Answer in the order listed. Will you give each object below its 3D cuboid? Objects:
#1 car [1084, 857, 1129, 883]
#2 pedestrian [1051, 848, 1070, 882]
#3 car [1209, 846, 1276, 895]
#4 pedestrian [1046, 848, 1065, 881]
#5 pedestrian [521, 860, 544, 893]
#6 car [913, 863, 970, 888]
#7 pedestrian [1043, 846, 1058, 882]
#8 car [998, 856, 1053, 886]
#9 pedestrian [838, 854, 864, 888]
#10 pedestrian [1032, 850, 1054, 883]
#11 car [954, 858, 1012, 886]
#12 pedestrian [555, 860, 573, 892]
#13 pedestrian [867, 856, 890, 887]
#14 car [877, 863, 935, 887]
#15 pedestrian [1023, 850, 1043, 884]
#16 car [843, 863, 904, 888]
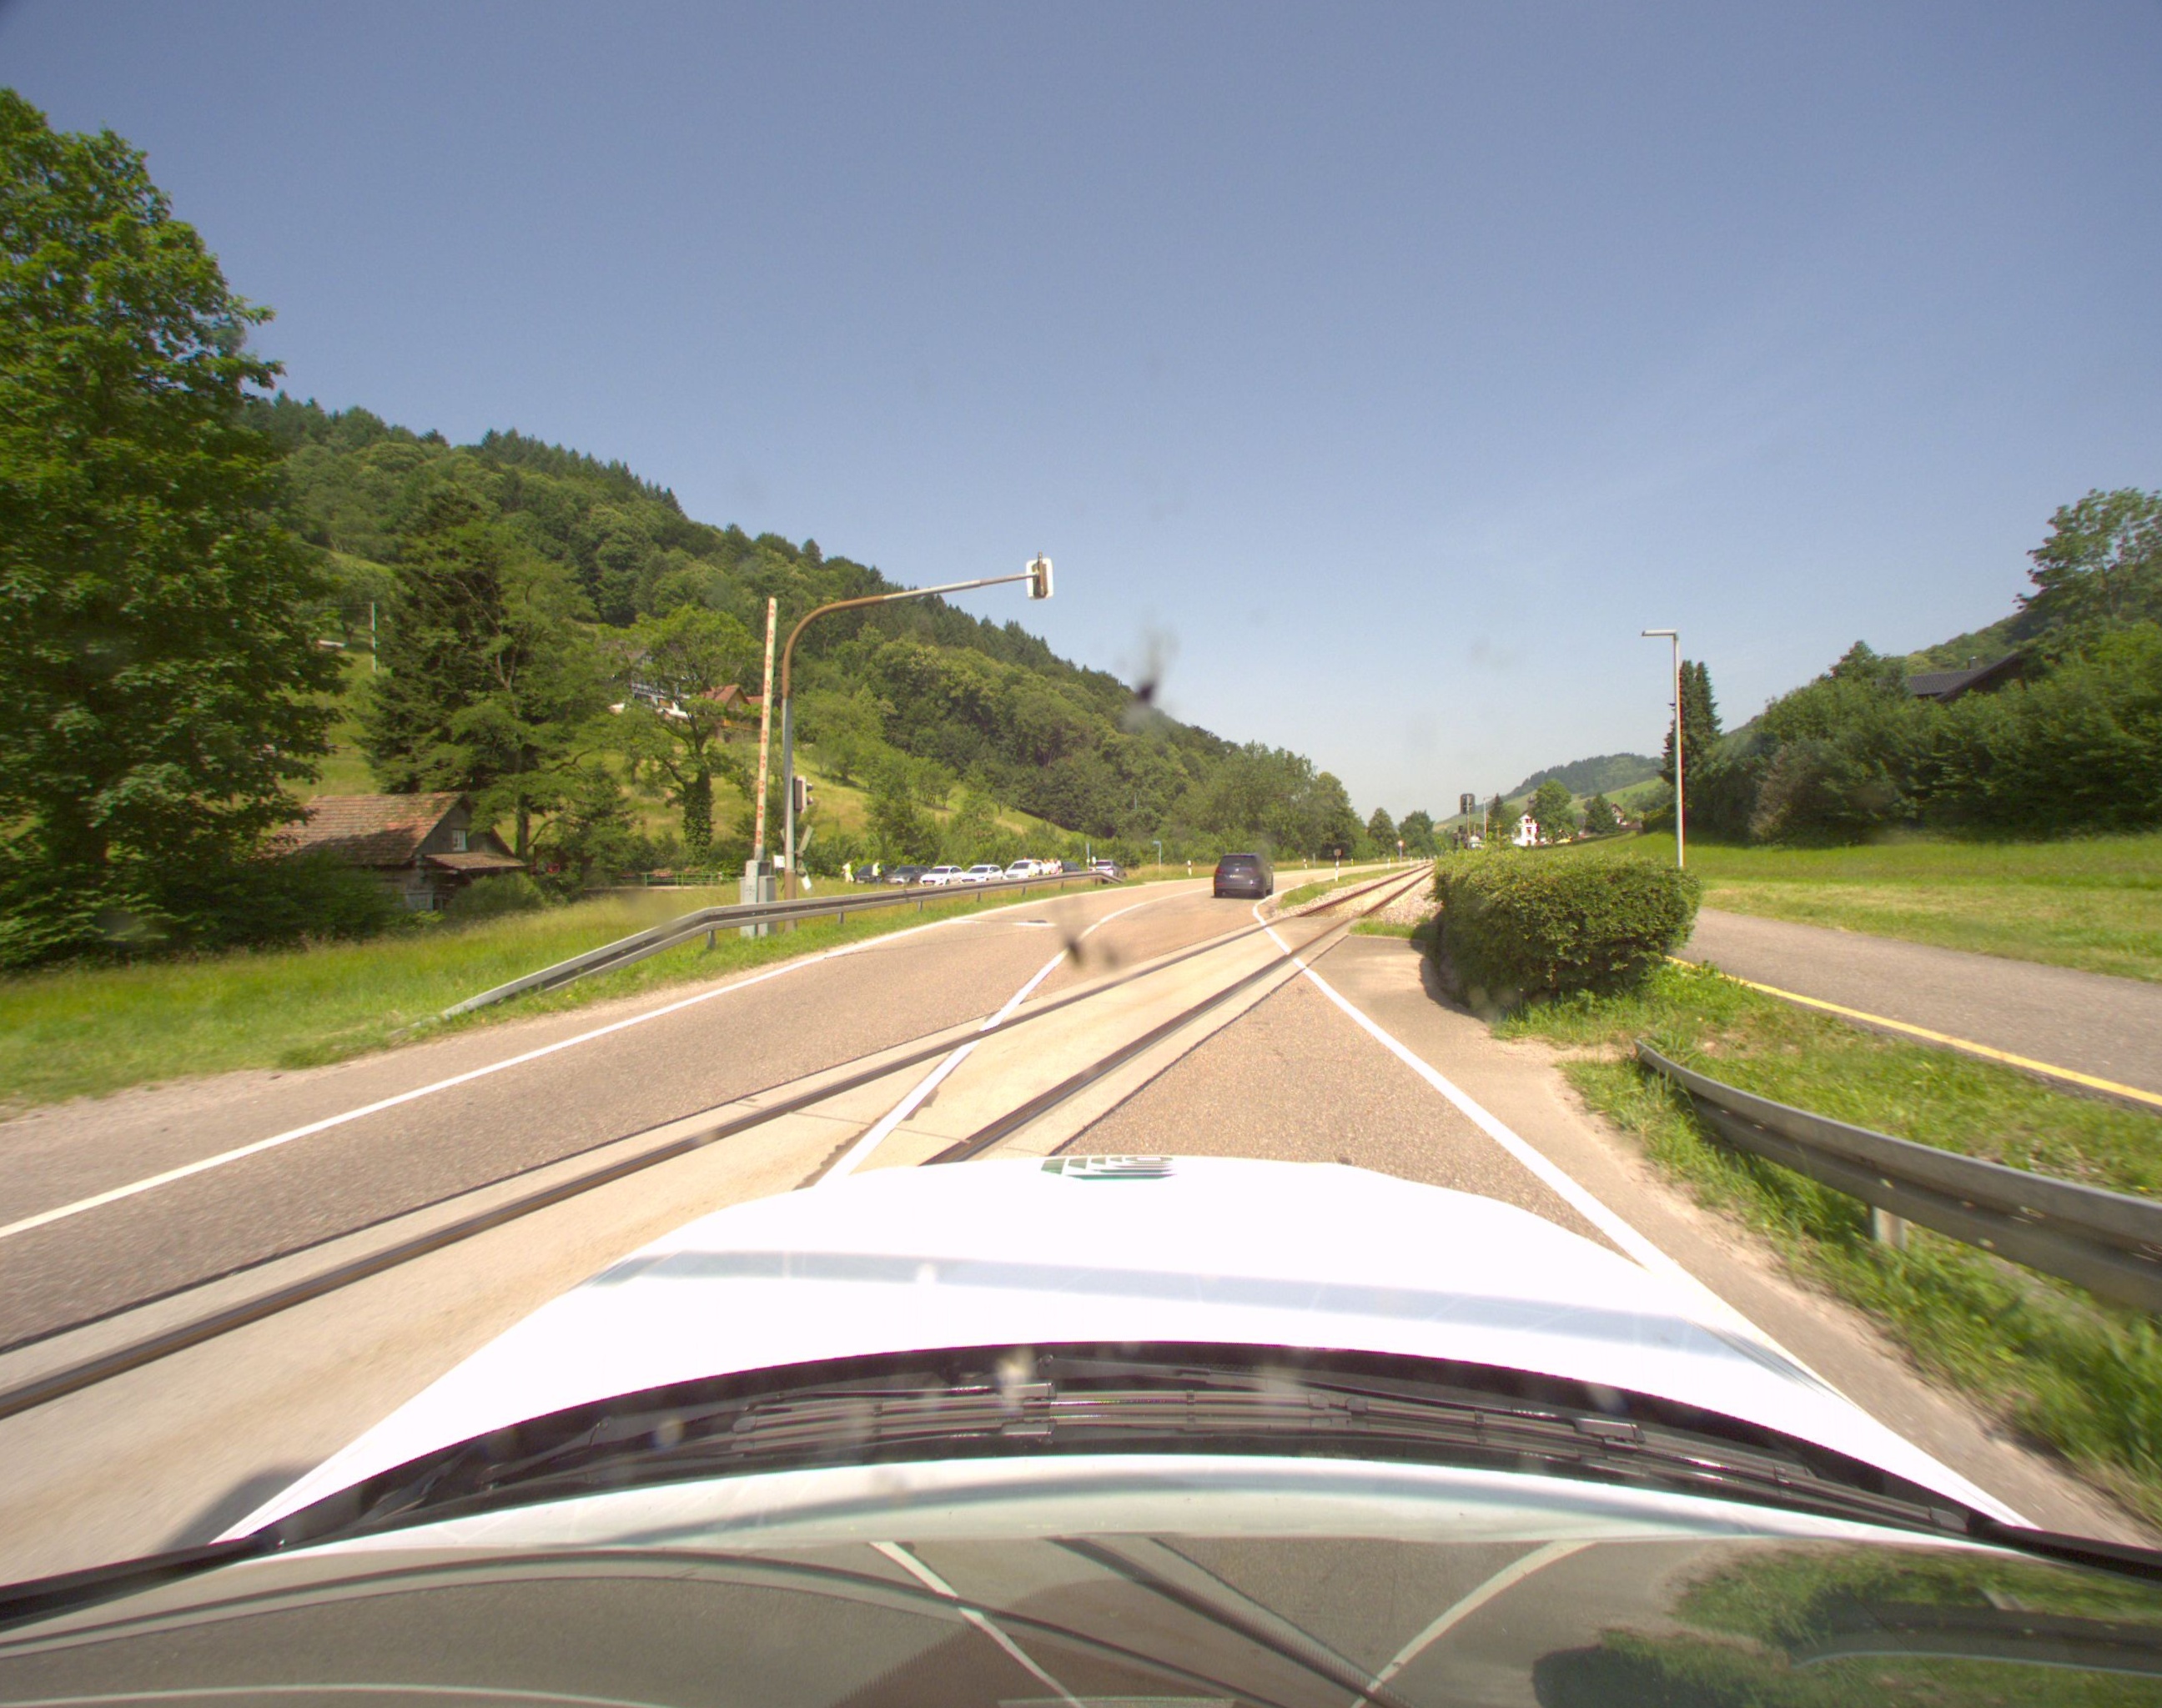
[{"bbox_3d":[1.636,0.952,50.072,1.813,1.501,4.293,-3,-1,14],"label":"car"},{"bbox_3d":[-1.129,0.623,45.306,0.775,1.859,0.641,-2,-1,-42],"label":"pedestrian"},{"bbox_3d":[6.034,0.552,30.146,1.837,1.649,4.160,0,1,20],"label":"car"},{"bbox_3d":[-1.446,0.587,46.053,0.775,1.840,0.641,-2,-1,-42],"label":"pedestrian"},{"bbox_3d":[-34.543,1.416,51.326,0.693,2.014,0.936,-3,-1,16],"label":"pedestrian"},{"bbox_3d":[-9.019,1.371,53.023,1.980,1.501,4.537,-3,-1,13],"label":"car"},{"bbox_3d":[-1.672,0.529,44.971,0.657,1.955,0.533,-3,-1,5],"label":"pedestrian"},{"bbox_3d":[-3.493,1.079,52.476,1.856,1.782,4.794,-1,0,18],"label":"car"},{"bbox_3d":[-13.827,1.015,48.971,1.115,1.969,0.867,-3,-1,30],"label":"pedestrian"},{"bbox_3d":[-2.124,0.716,45.532,0.761,1.796,0.798,-4,-2,45],"label":"pedestrian"},{"bbox_3d":[-6.292,1.112,52.827,1.979,1.641,4.921,-3,-1,15],"label":"car"},{"bbox_3d":[-33.462,1.421,52.724,0.936,2.014,0.694,-1,-1,-33],"label":"pedestrian"},{"bbox_3d":[-11.794,1.017,47.537,0.949,1.794,1.001,-3,-1,4],"label":"pedestrian"},{"bbox_3d":[-11.492,1.335,53.711,1.980,1.501,4.537,0,0,13],"label":"car"},{"bbox_3d":[-2.654,0.700,44.778,0.780,1.842,0.702,-3,-1,25],"label":"pedestrian"},{"bbox_3d":[-13.773,1.390,54.356,1.980,1.501,4.537,-3,-1,13],"label":"car"}]
